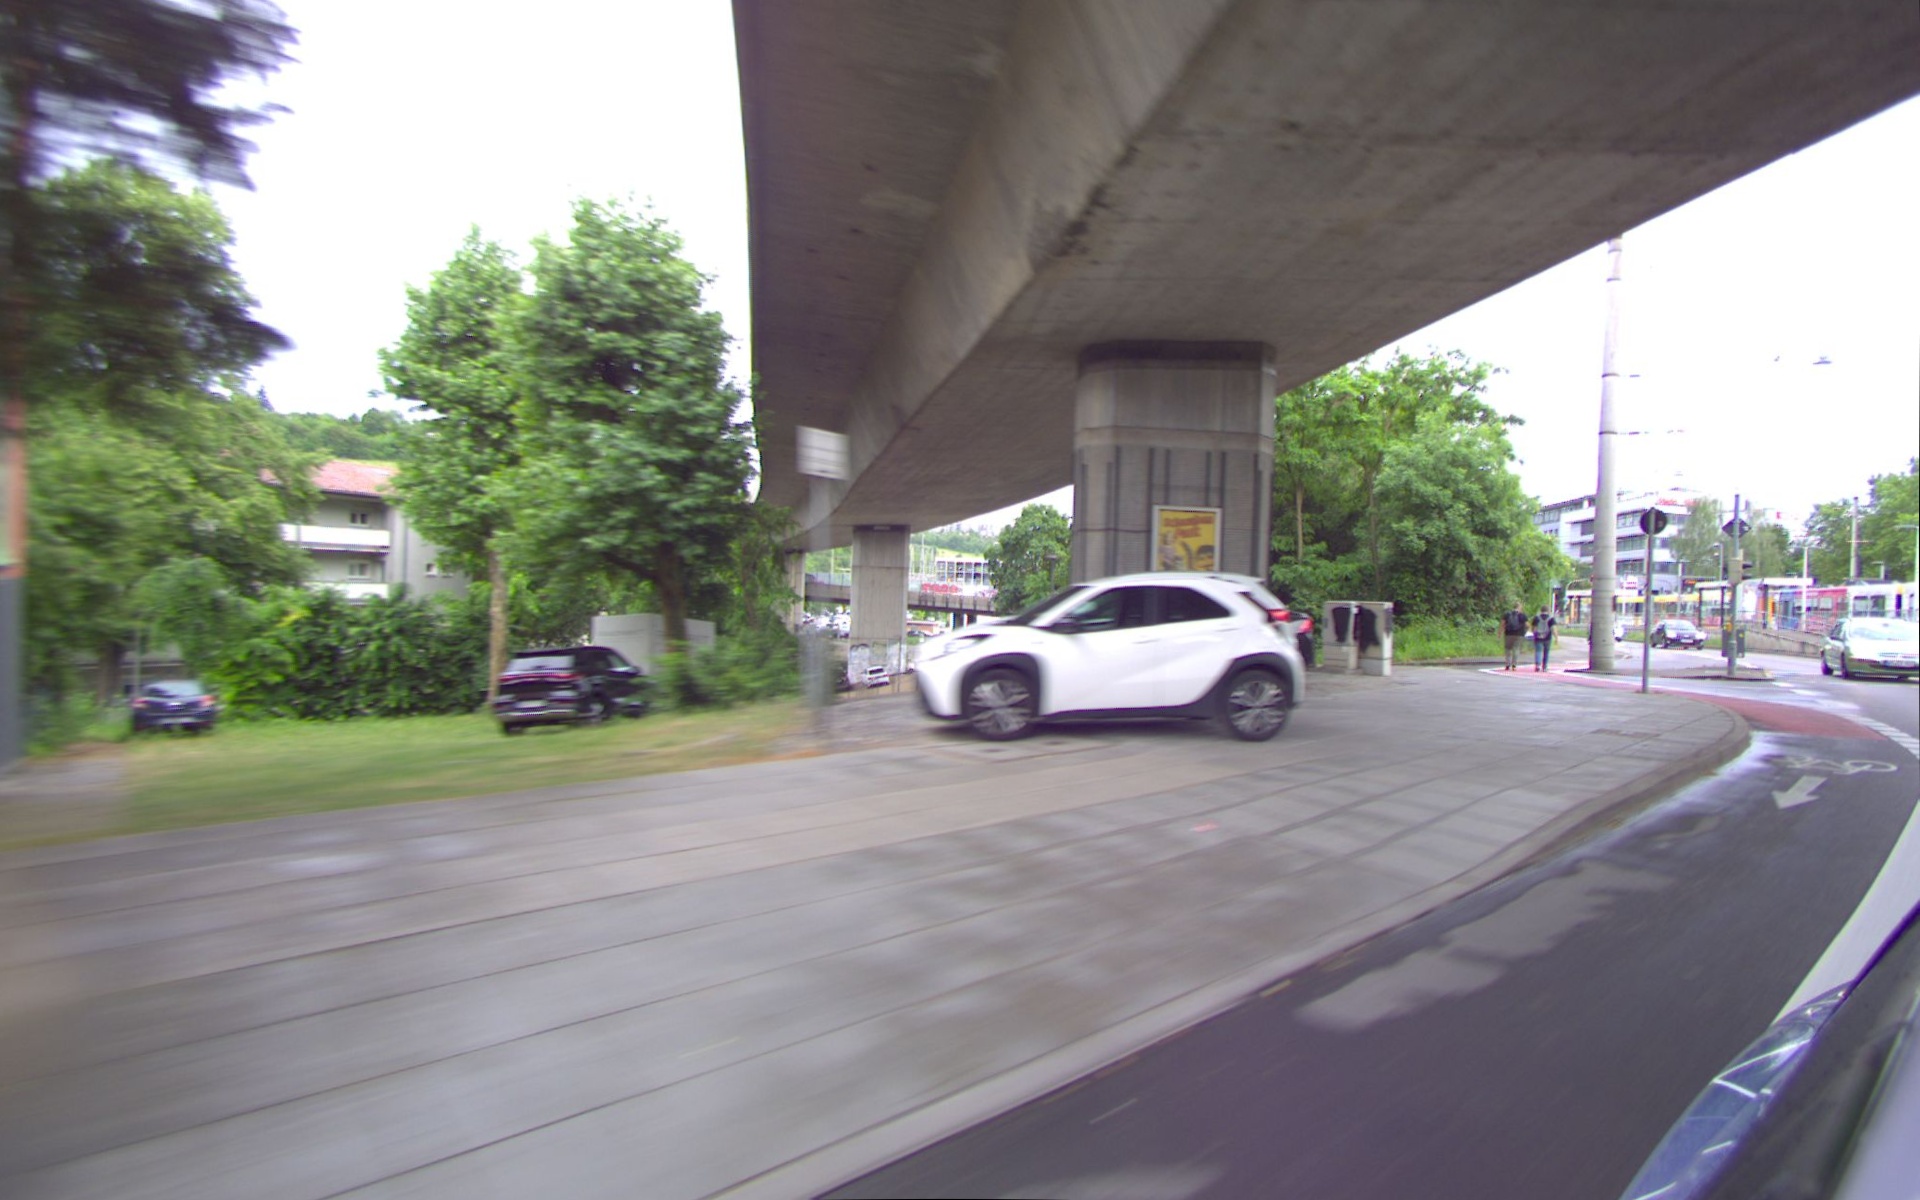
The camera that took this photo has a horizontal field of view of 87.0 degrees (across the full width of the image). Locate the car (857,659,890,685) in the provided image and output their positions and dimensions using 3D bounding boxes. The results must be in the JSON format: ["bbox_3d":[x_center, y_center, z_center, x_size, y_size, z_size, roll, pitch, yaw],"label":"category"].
[{"bbox_3d":[-6.476,5.347,75.269,1.958,1.629,4.297,1,0,-12],"label":"car"}]

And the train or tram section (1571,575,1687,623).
[{"bbox_3d":[62.502,-0.140,95.369,2.835,4.023,19.244,-1,0,14],"label":"train or tram section"}]

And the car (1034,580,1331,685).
[{"bbox_3d":[3.246,0.468,15.181,3.968,1.458,1.789,1,0,-7],"label":"car"}]

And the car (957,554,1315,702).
[{"bbox_3d":[2.046,0.328,12.530,3.942,1.651,1.970,1,0,-7],"label":"car"}]

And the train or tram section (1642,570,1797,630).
[{"bbox_3d":[57.706,-0.055,77.851,2.837,4.004,19.229,-1,0,16],"label":"train or tram section"}]

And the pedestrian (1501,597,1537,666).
[{"bbox_3d":[15.224,0.851,27.570,0.597,1.845,0.895,-1,-1,45],"label":"pedestrian"}]

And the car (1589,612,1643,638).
[{"bbox_3d":[43.942,1.660,67.868,1.972,1.592,3.979,-1,0,16],"label":"car"}]

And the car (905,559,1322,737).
[{"bbox_3d":[1.363,0.430,9.896,3.660,1.541,1.805,1,0,-7],"label":"car"}]

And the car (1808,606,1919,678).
[{"bbox_3d":[22.180,0.961,24.444,1.766,1.520,3.960,3,1,29],"label":"car"}]

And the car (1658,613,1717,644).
[{"bbox_3d":[37.573,1.437,52.347,1.763,1.520,3.965,0,0,25],"label":"car"}]

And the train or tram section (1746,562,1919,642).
[{"bbox_3d":[52.030,0.044,59.679,2.840,4.021,19.207,-1,0,19],"label":"train or tram section"}]

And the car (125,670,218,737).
[{"bbox_3d":[-19.910,2.646,25.664,1.677,1.439,3.577,0,-7,-36],"label":"car"}]

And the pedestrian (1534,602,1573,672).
[{"bbox_3d":[15.957,0.976,27.195,0.821,1.831,0.627,0,-1,-39],"label":"pedestrian"}]

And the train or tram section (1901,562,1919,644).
[{"bbox_3d":[45.335,0.160,41.608,2.843,4.011,19.189,-1,0,22],"label":"train or tram section"}]

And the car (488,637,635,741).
[{"bbox_3d":[-7.556,1.614,19.533,1.842,1.672,3.624,0,0,-8],"label":"car"}]
